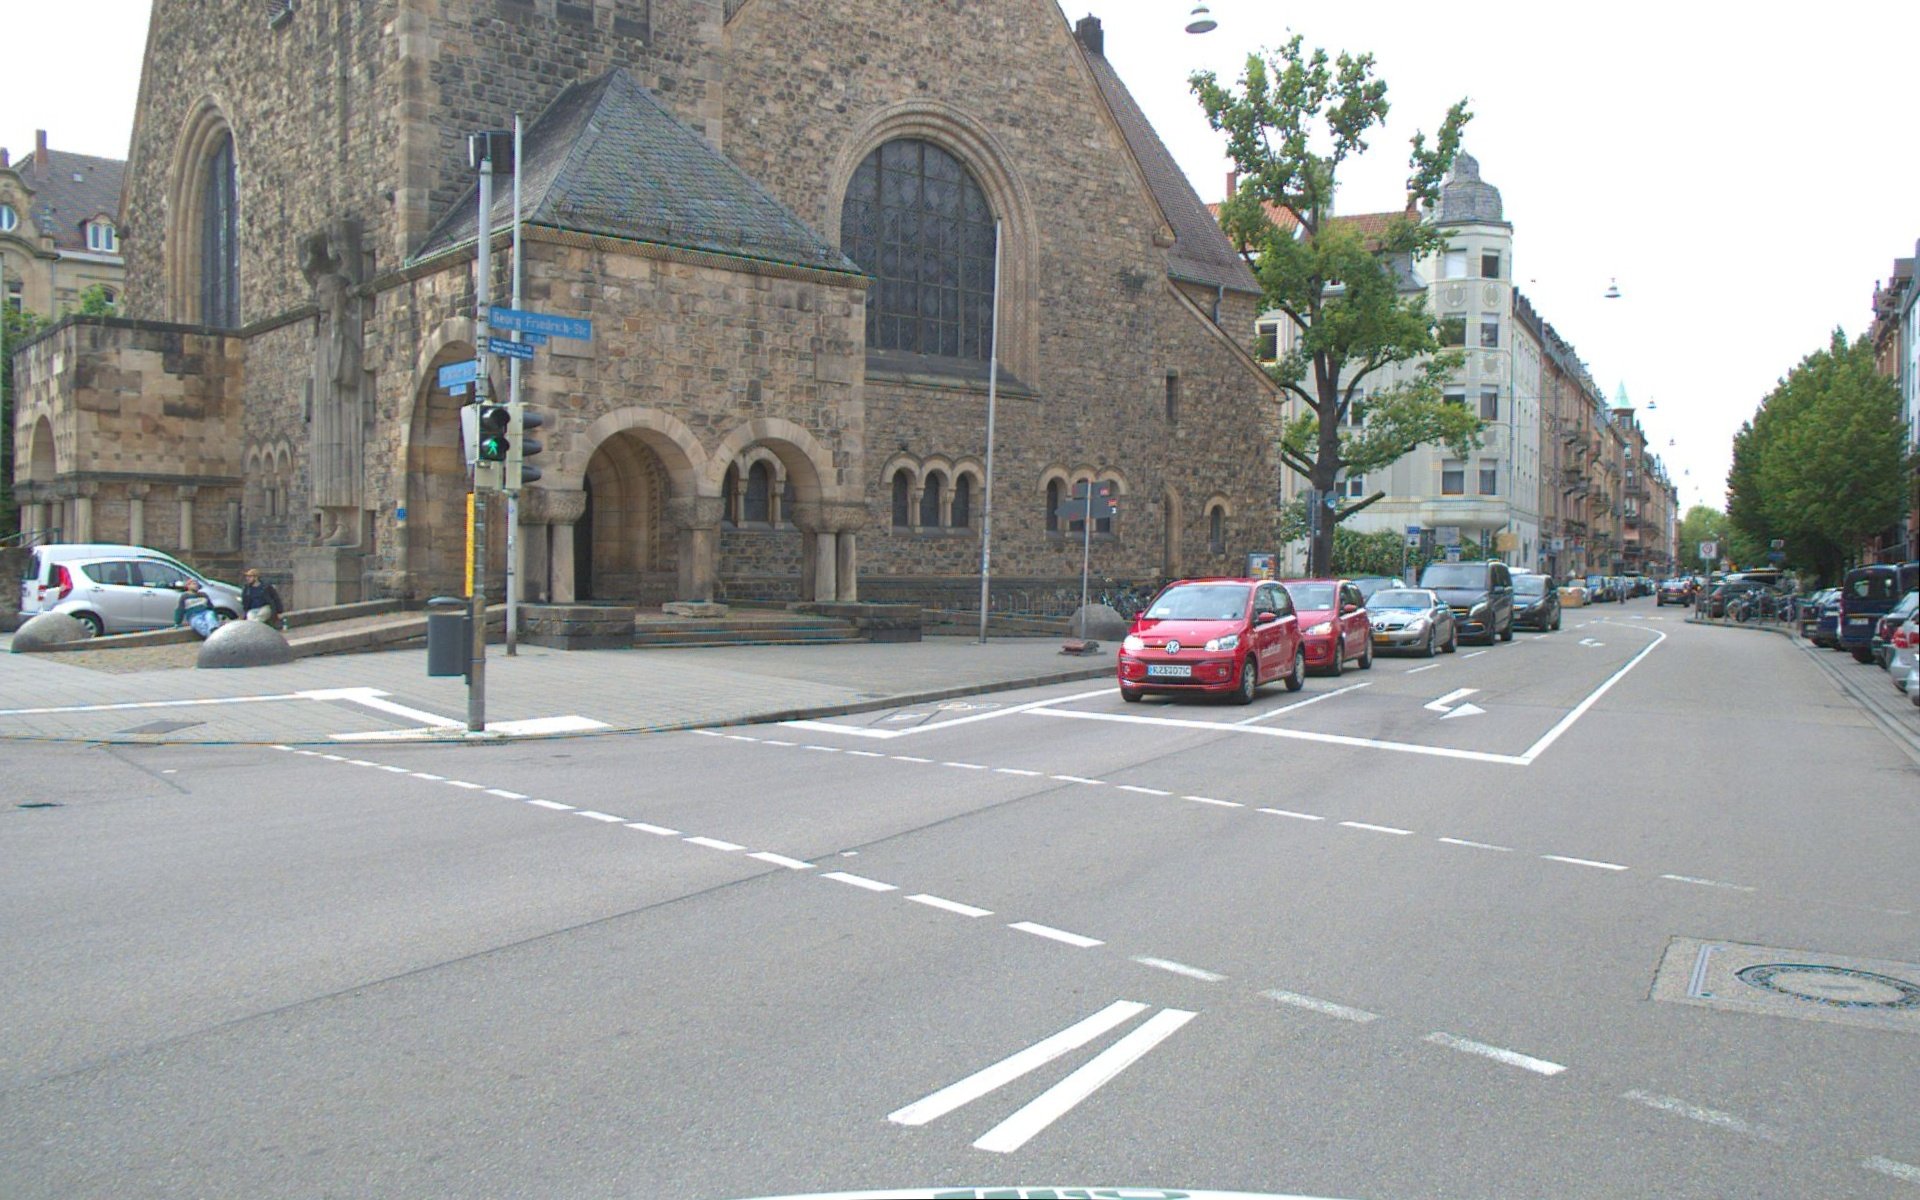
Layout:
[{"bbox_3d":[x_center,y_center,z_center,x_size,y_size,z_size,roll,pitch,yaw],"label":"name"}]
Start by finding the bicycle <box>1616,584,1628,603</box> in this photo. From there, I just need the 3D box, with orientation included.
[{"bbox_3d":[41.151,-0.422,102.791,0.556,1.106,1.985,1,1,26],"label":"bicycle"}]

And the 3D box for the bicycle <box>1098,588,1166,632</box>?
[{"bbox_3d":[4.673,0.258,45.004,1.750,1.150,0.658,1,1,39],"label":"bicycle"}]

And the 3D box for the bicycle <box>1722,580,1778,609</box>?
[{"bbox_3d":[29.419,-0.196,61.599,1.845,1.061,0.612,-1,-1,23],"label":"bicycle"}]

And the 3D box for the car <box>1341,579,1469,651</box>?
[{"bbox_3d":[8.855,0.282,32.710,1.671,1.309,4.038,-2,0,26],"label":"car"}]

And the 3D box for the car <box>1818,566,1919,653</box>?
[{"bbox_3d":[20.046,0.128,34.190,3.921,1.629,1.759,-3,1,-15],"label":"car"}]

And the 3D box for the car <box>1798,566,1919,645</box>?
[{"bbox_3d":[21.051,0.073,36.710,3.908,1.560,1.931,-3,1,-4],"label":"car"}]

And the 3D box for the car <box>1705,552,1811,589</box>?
[{"bbox_3d":[47.319,-1.740,98.102,5.502,2.164,1.947,-1,0,-9],"label":"car"}]

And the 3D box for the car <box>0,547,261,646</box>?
[{"bbox_3d":[-17.036,-0.052,34.062,4.582,1.914,1.638,1,0,-40],"label":"car"}]

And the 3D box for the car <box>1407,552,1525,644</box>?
[{"bbox_3d":[11.873,-0.109,38.575,1.874,1.988,5.280,1,2,25],"label":"car"}]

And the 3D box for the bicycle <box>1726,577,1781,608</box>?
[{"bbox_3d":[30.508,-0.287,63.590,1.845,1.161,0.612,-1,-1,23],"label":"bicycle"}]

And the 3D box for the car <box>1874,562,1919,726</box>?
[{"bbox_3d":[12.130,0.408,17.339,4.133,1.712,1.912,-1,0,-9],"label":"car"}]

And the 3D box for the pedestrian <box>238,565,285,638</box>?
[{"bbox_3d":[-12.363,0.020,29.260,0.727,1.250,1.054,1,0,-25],"label":"pedestrian"}]

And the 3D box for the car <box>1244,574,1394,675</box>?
[{"bbox_3d":[5.776,0.364,26.324,1.570,1.482,3.716,-2,0,24],"label":"car"}]

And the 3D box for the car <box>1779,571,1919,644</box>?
[{"bbox_3d":[21.787,0.128,38.907,4.159,1.504,1.685,-3,1,1],"label":"car"}]

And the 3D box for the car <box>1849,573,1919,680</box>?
[{"bbox_3d":[16.361,0.355,25.711,4.374,1.579,1.846,-1,1,-13],"label":"car"}]

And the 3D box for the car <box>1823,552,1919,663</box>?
[{"bbox_3d":[18.793,0.055,31.315,4.200,1.940,1.872,-3,1,-16],"label":"car"}]

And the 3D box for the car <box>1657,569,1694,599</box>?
[{"bbox_3d":[43.109,-0.935,99.650,1.954,1.710,3.998,1,0,24],"label":"car"}]

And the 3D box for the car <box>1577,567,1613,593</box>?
[{"bbox_3d":[42.000,-1.338,109.372,1.906,1.645,3.940,2,1,25],"label":"car"}]

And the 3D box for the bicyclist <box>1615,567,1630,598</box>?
[{"bbox_3d":[41.261,-1.096,103.004,0.767,1.898,0.714,1,1,27],"label":"bicyclist"}]

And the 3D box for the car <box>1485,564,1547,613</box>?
[{"bbox_3d":[23.379,-0.510,69.432,1.807,1.973,4.543,1,2,27],"label":"car"}]

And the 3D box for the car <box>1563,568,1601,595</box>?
[{"bbox_3d":[39.027,-1.162,103.691,1.906,1.645,3.940,2,1,25],"label":"car"}]

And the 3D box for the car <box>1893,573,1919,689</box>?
[{"bbox_3d":[15.520,0.335,23.034,4.375,1.601,1.741,-3,1,-13],"label":"car"}]

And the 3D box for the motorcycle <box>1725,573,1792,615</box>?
[{"bbox_3d":[28.189,-0.197,58.423,2.090,1.454,0.770,-1,-1,23],"label":"motorcycle"}]

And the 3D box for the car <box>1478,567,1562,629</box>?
[{"bbox_3d":[16.603,-0.115,48.915,1.808,1.713,4.545,1,2,26],"label":"car"}]

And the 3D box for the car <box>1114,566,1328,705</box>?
[{"bbox_3d":[3.407,0.387,21.011,1.616,1.555,3.891,-2,1,25],"label":"car"}]

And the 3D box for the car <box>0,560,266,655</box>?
[{"bbox_3d":[-15.478,0.148,30.933,4.322,1.665,1.638,1,0,-40],"label":"car"}]

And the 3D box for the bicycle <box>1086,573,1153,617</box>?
[{"bbox_3d":[4.282,-0.153,44.453,1.751,1.145,0.565,1,1,39],"label":"bicycle"}]

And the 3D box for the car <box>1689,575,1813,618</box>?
[{"bbox_3d":[32.141,-0.151,67.249,4.193,1.606,1.860,-2,0,-8],"label":"car"}]

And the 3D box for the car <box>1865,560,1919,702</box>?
[{"bbox_3d":[13.844,0.296,20.268,4.652,1.715,1.932,-2,-1,-11],"label":"car"}]

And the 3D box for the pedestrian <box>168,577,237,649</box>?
[{"bbox_3d":[-13.120,0.211,28.647,0.732,1.212,1.472,1,0,-39],"label":"pedestrian"}]

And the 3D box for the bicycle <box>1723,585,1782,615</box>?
[{"bbox_3d":[28.862,0.017,60.250,1.890,1.061,0.612,-1,-1,23],"label":"bicycle"}]
